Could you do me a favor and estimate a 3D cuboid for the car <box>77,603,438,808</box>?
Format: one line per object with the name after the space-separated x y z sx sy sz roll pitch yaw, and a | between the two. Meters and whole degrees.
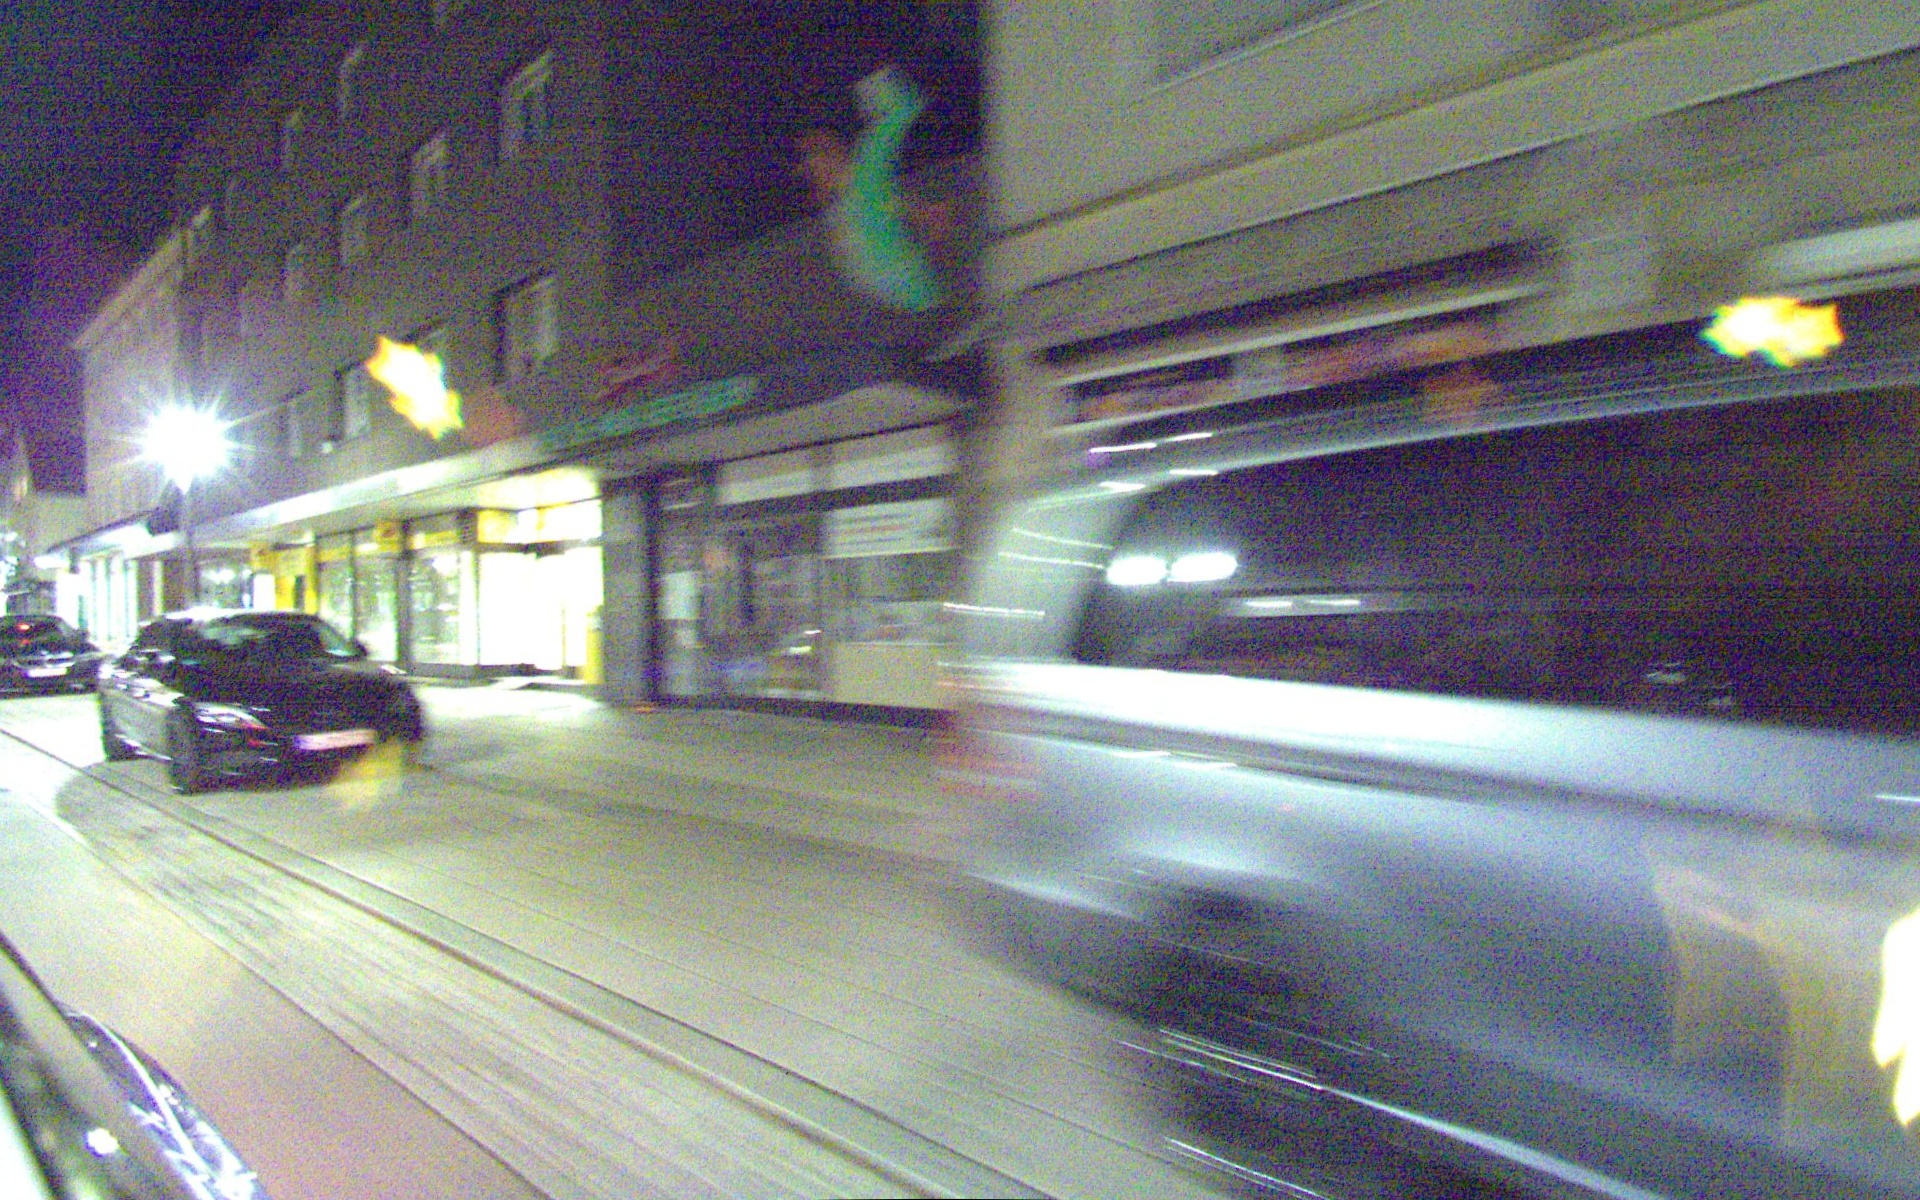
-6.618 0.788 9.333 4.383 1.423 1.699 -1 1 41 | car

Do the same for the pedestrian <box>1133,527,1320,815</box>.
1.770 0.437 6.750 1.022 1.758 0.615 -1 0 41 | pedestrian

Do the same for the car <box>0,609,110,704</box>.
-17.333 0.972 18.641 4.317 1.489 1.780 -1 3 40 | car

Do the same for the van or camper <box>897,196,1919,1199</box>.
2.265 0.372 1.900 1.824 1.956 5.157 -1 0 -44 | van or camper
